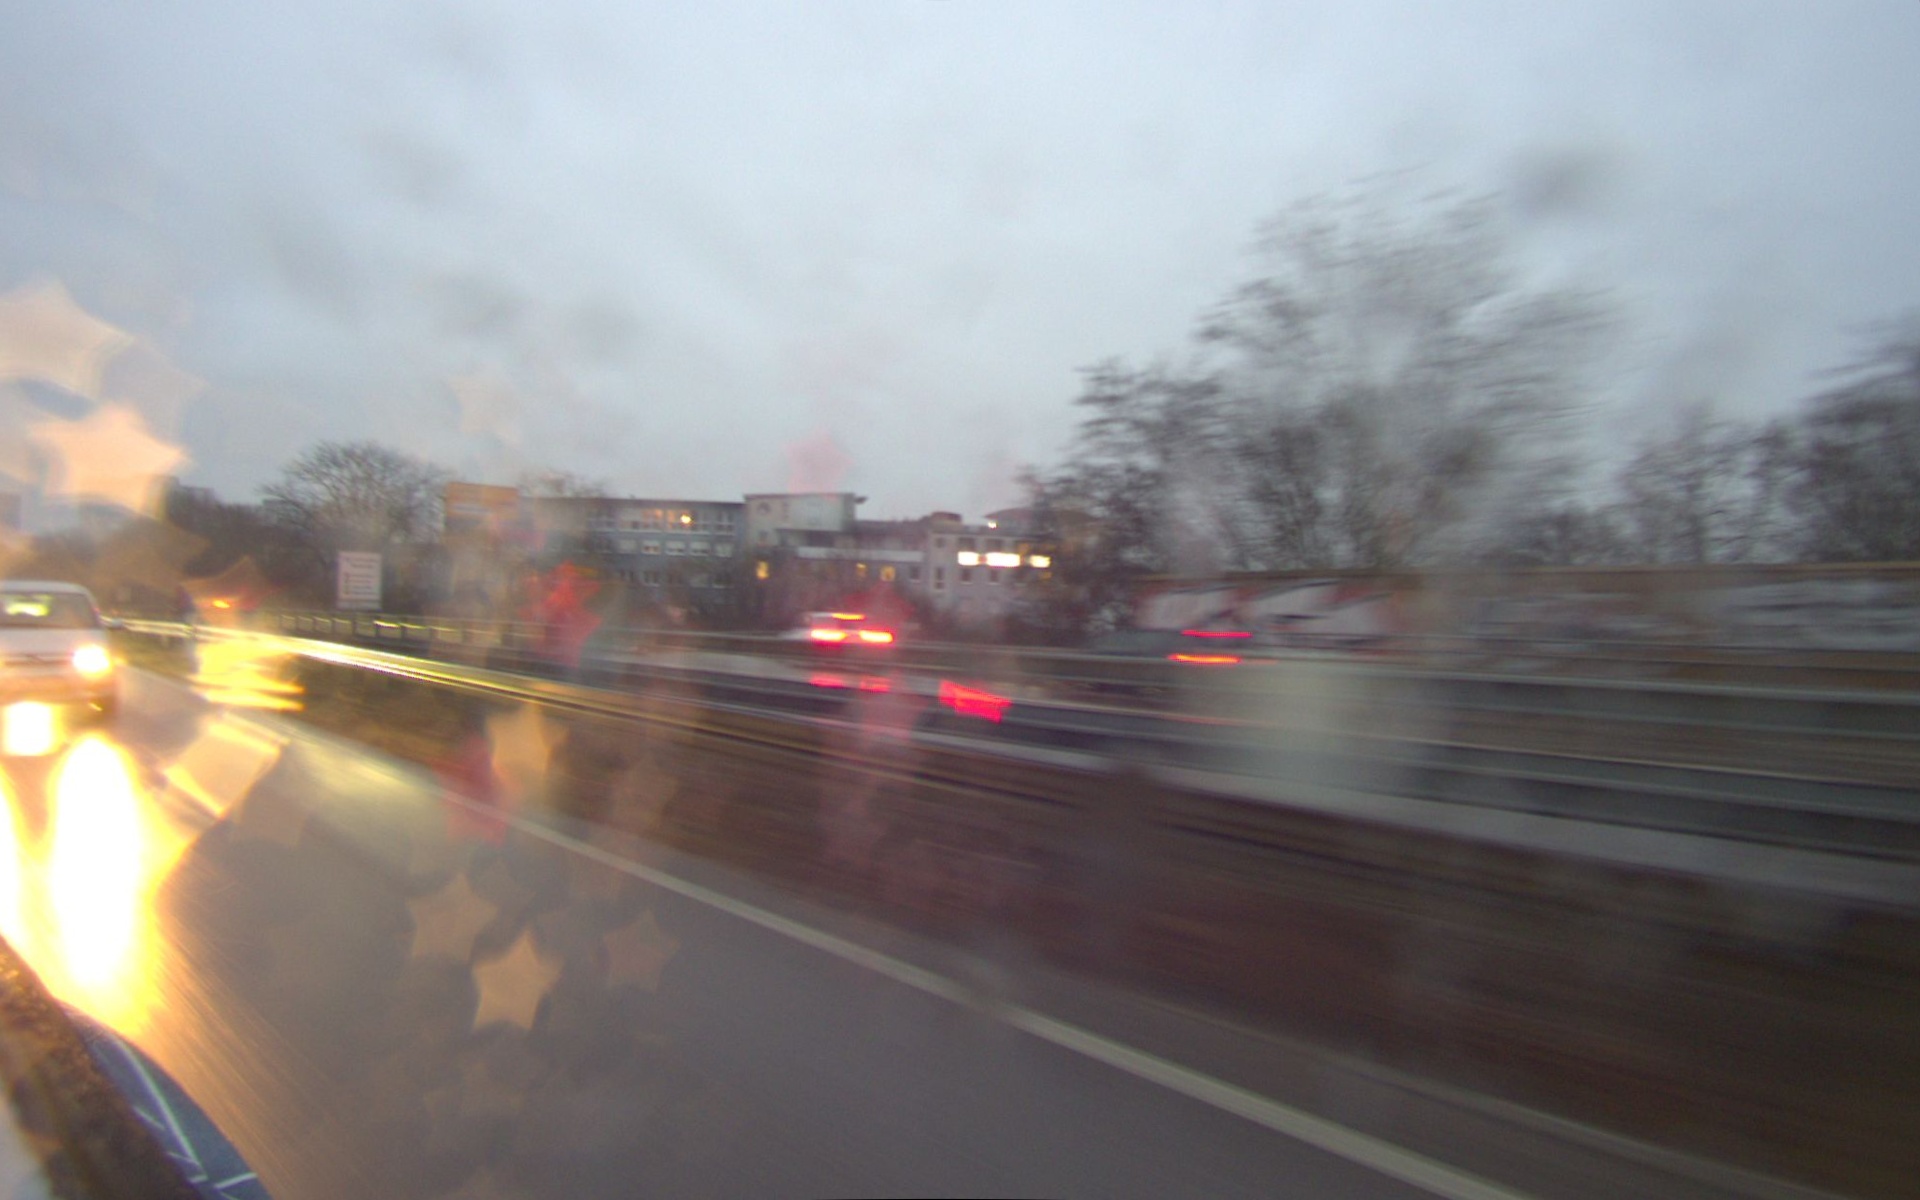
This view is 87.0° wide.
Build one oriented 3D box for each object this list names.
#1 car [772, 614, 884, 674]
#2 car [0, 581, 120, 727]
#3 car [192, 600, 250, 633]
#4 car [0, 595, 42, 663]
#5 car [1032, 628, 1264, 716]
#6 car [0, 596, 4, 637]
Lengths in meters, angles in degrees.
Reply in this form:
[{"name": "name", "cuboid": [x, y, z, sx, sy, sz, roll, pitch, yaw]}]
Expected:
[{"name": "car", "cuboid": [-3.998, 1.221, 29.966, 1.814, 1.574, 4.698, 0, 0, -27]}, {"name": "car", "cuboid": [-11.975, 0.596, 12.799, 1.741, 1.611, 4.168, 2, -1, -44]}, {"name": "car", "cuboid": [-44.467, 0.962, 60.877, 4.285, 1.933, 1.972, 0, 0, 42]}, {"name": "car", "cuboid": [-23.387, 0.644, 24.086, 4.147, 1.542, 1.999, 0, -1, 44]}, {"name": "car", "cuboid": [3.494, 1.296, 19.536, 1.763, 1.414, 4.318, 1, -1, -38]}, {"name": "car", "cuboid": [-32.890, 0.520, 33.308, 3.997, 1.344, 1.675, 0, 0, 40]}]
